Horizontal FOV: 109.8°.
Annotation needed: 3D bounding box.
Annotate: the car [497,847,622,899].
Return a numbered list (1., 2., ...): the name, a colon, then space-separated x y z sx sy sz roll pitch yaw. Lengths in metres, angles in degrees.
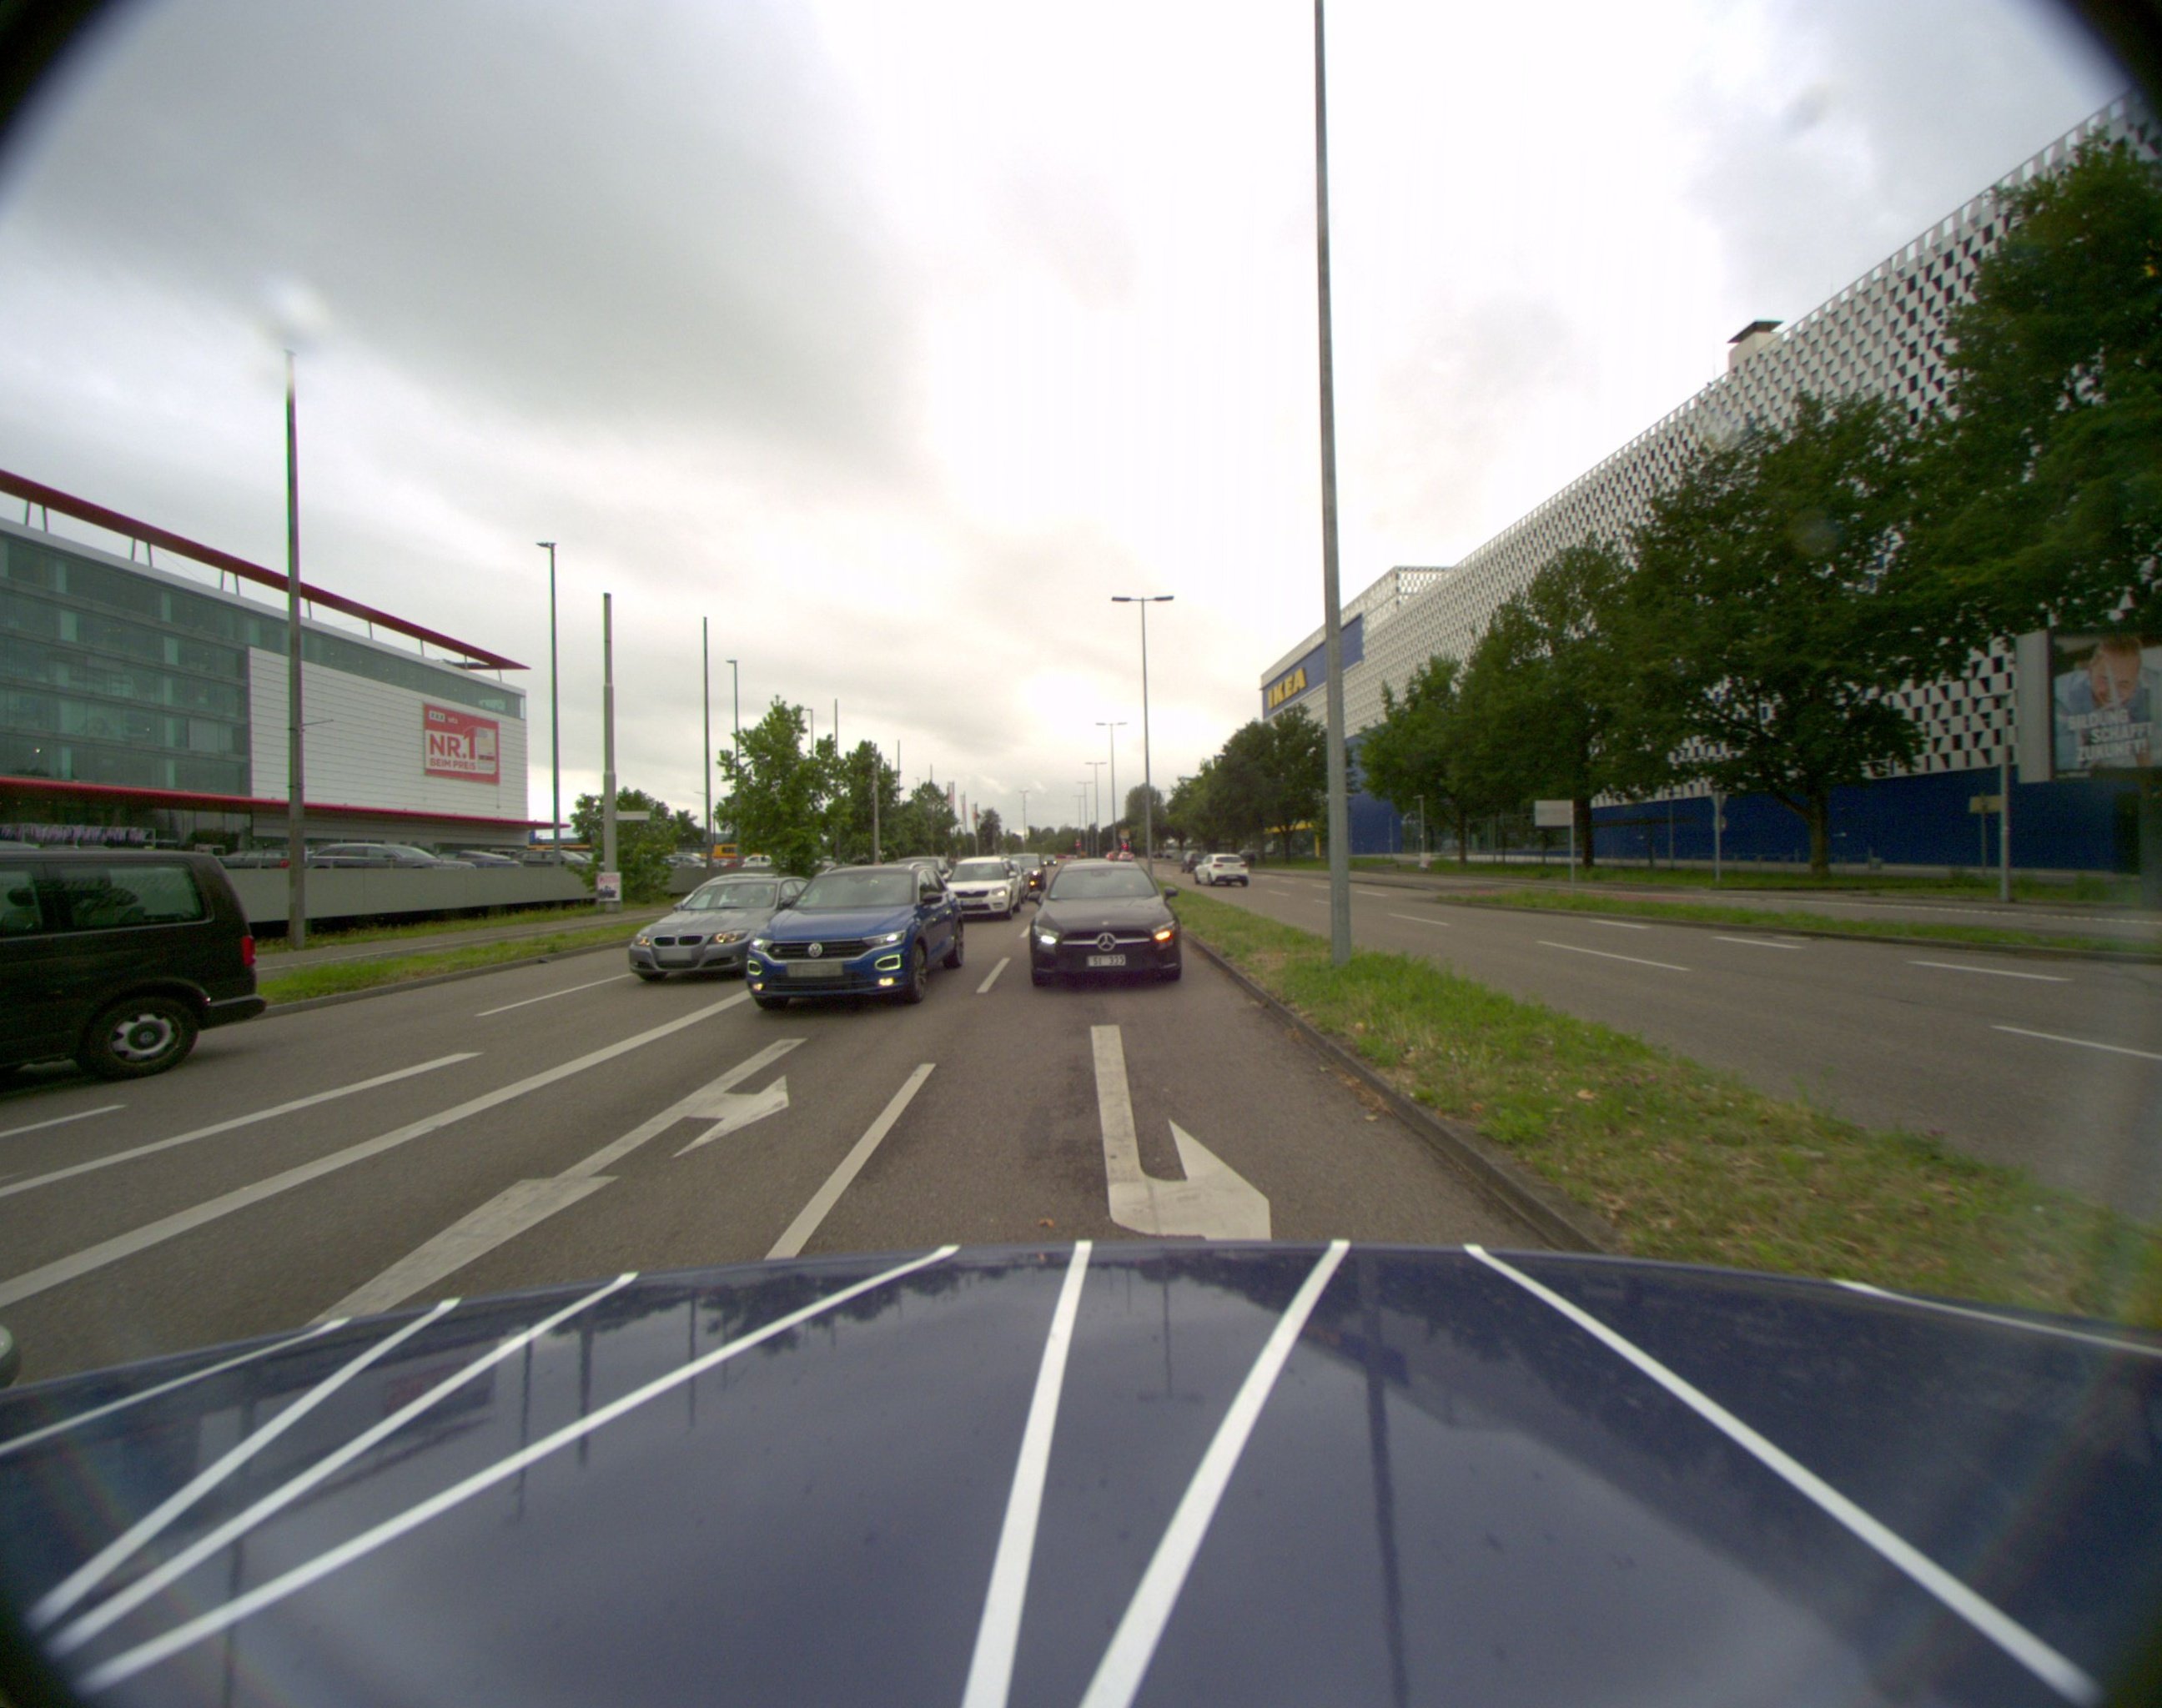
1. car: -22.967 0.810 33.576 3.998 2.002 1.999 -3 1 -2

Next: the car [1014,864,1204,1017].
1. car: 0.289 0.904 9.787 1.859 1.426 4.196 -3 0 0

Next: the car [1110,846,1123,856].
1. car: 6.487 -0.623 138.843 1.847 1.709 3.923 -3 1 -2

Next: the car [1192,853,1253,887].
1. car: 6.454 0.699 35.038 1.787 1.444 3.931 0 0 -5

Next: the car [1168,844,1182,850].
1. car: 30.783 -2.377 248.321 4.291 1.813 1.743 -3 1 -4

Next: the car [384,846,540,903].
1. car: -22.896 0.726 28.260 3.998 1.838 1.999 -3 1 -3

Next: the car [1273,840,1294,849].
1. car: 45.392 -2.085 170.210 3.999 1.805 1.998 -3 1 -8

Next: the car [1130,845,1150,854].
1. car: 14.700 -1.044 189.552 4.669 2.002 1.999 -3 1 -2

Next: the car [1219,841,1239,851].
1. car: 28.539 -1.572 146.519 3.565 1.630 1.743 -3 1 -4

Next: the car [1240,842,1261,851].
1. car: 37.839 -1.672 169.285 3.999 1.805 1.998 -3 1 -8

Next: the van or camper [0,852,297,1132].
1. van or camper: -9.060 1.084 5.048 2.161 2.002 4.945 -3 1 7

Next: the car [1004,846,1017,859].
1. car: -11.968 -0.273 129.837 1.999 2.229 3.999 -1 0 -3

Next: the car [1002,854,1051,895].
1. car: -2.344 0.842 33.834 1.801 1.565 4.218 -3 1 0

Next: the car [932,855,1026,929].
1. car: -2.594 0.923 20.370 1.798 1.615 4.374 -3 1 1

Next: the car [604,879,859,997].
1. car: -5.339 1.195 12.490 1.816 1.402 4.878 -3 -1 1

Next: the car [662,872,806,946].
1. car: -8.112 1.218 18.182 1.694 1.364 3.925 -3 1 -2

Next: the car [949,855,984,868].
1. car: -14.751 0.979 97.776 4.216 1.407 1.802 -3 1 -1

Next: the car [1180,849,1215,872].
1. car: 8.918 0.451 58.550 1.847 1.646 4.359 1 1 -3

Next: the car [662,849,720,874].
1. car: -34.590 0.634 67.534 3.998 2.002 1.999 -3 1 -2

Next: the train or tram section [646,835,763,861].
1. train or tram section: -82.789 -1.371 167.525 23.276 4.811 3.631 -2 1 -4

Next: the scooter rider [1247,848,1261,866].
1. scooter rider: 16.476 0.285 72.461 0.798 1.710 1.038 -3 1 -17

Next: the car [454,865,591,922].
1. car: -22.950 1.580 31.354 3.998 2.002 1.999 -3 1 -2

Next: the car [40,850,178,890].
1. car: -48.489 0.780 37.983 3.998 1.729 1.999 -3 1 -3

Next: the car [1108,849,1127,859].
1. car: 8.154 0.040 168.997 3.922 1.876 1.847 -2 3 -2

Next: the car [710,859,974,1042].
1. car: -2.645 0.966 9.626 1.846 1.612 4.331 -3 1 1

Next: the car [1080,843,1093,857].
1. car: 0.890 -0.649 127.600 1.999 2.206 3.999 -1 0 -3

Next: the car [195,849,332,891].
1. car: -38.195 0.723 35.590 3.998 1.729 1.999 -3 1 -3

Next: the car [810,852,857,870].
1. car: -24.477 0.706 75.222 3.997 1.556 1.796 -3 1 0

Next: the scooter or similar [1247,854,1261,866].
1. scooter or similar: 16.474 0.541 72.509 0.590 1.119 1.423 -5 2 -17

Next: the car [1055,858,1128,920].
1. car: 0.275 0.895 21.217 1.767 1.370 4.258 -3 1 0

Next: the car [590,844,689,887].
1. car: -23.527 0.587 40.634 3.998 2.002 1.999 -3 1 -2

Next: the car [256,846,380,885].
1. car: -38.275 0.555 38.213 3.998 1.729 1.999 -3 1 -3

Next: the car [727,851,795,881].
1. car: -24.680 0.904 58.685 4.324 2.002 1.999 -3 1 -2

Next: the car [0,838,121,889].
1. car: -32.839 0.331 23.352 3.992 1.429 1.869 -3 1 -4

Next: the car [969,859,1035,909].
1. car: -2.658 0.985 26.601 1.801 1.407 4.218 -3 1 0

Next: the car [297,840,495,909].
1. car: -22.646 0.641 25.279 4.530 2.002 1.999 -3 1 -3

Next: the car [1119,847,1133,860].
1. car: 7.056 -0.035 119.275 1.847 1.876 3.923 -3 1 -2

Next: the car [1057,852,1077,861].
1. car: -3.421 0.624 189.286 4.709 2.002 1.999 -3 1 -6

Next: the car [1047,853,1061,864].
1. car: -3.943 0.607 111.376 1.801 1.407 4.218 -3 1 0

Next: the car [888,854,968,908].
1. car: -5.273 0.872 26.769 1.798 1.615 4.374 -3 1 1

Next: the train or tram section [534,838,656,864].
1. train or tram section: -106.013 -0.607 166.032 23.276 4.811 3.631 -2 1 -4
